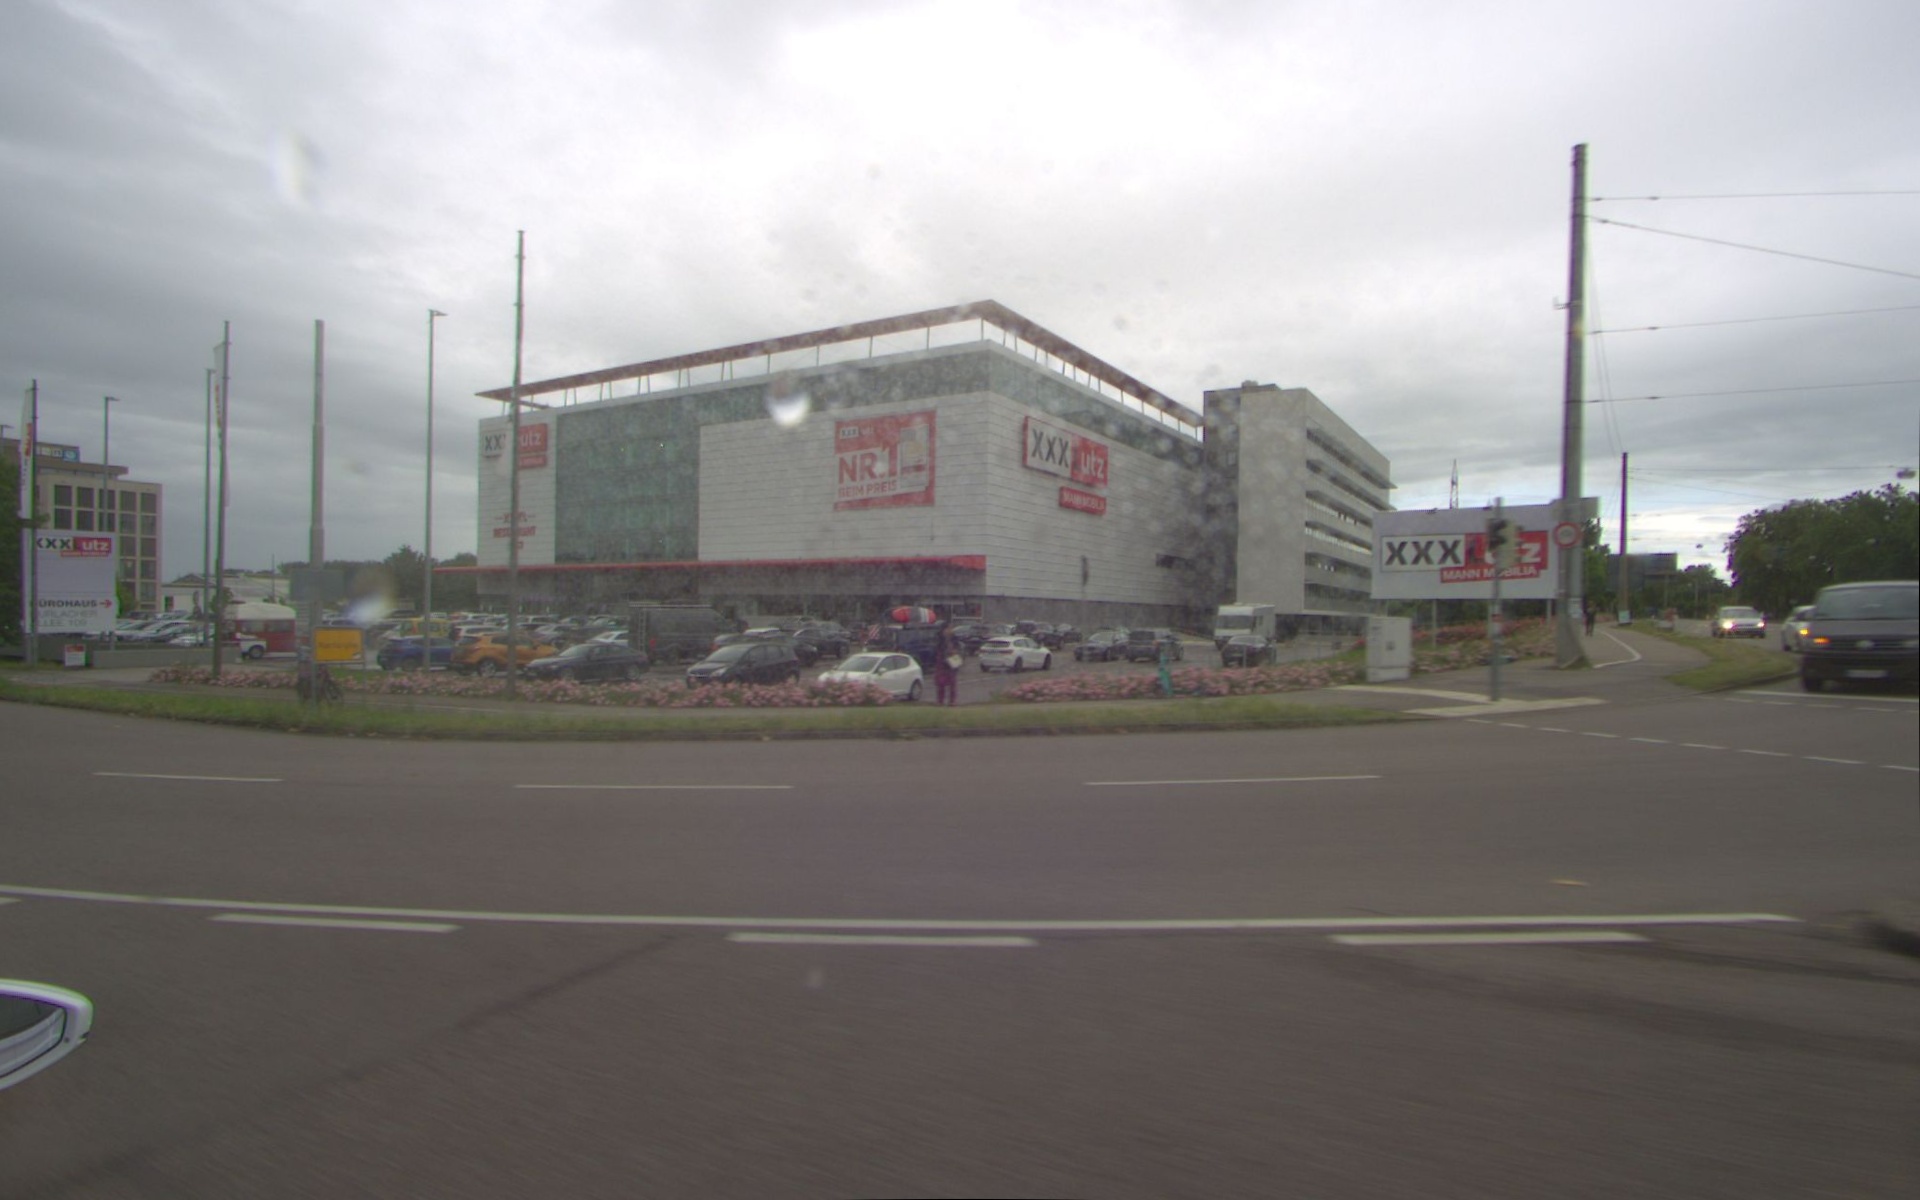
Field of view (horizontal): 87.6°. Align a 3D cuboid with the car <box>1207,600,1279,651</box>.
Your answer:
[{"bbox_3d":[18.257,1.628,64.354,2.727,3.029,6.921,2,0,30],"label":"car"}]

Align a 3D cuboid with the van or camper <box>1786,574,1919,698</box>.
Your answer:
[{"bbox_3d":[17.186,0.604,18.639,4.703,2.039,2.105,-1,-2,-43],"label":"van or camper"}]

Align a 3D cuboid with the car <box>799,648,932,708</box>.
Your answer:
[{"bbox_3d":[-2.680,2.227,29.327,1.847,1.464,4.103,2,0,30],"label":"car"}]

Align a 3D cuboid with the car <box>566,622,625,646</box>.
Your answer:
[{"bbox_3d":[-27.970,2.620,76.881,1.761,1.843,3.980,0,-2,32],"label":"car"}]

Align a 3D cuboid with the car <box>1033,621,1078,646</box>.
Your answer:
[{"bbox_3d":[6.797,2.349,71.094,1.628,1.581,3.595,1,1,34],"label":"car"}]

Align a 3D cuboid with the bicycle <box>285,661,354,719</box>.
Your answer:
[{"bbox_3d":[-12.725,1.761,19.876,1.671,1.062,0.661,-2,-2,39],"label":"bicycle"}]

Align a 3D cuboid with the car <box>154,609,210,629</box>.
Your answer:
[{"bbox_3d":[-69.092,1.680,88.980,1.678,1.654,3.621,2,0,37],"label":"car"}]

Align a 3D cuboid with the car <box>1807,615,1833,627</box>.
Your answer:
[{"bbox_3d":[108.209,2.638,126.020,1.724,1.450,3.362,2,1,28],"label":"car"}]

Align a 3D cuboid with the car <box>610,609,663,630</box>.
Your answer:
[{"bbox_3d":[-26.084,1.574,80.861,1.803,1.574,3.787,2,0,32],"label":"car"}]

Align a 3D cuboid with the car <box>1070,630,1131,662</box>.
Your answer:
[{"bbox_3d":[7.256,2.309,51.558,1.805,1.536,3.983,-1,-1,29],"label":"car"}]

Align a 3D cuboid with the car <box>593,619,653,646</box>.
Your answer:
[{"bbox_3d":[-24.628,2.395,73.316,1.813,1.863,3.984,0,-2,29],"label":"car"}]

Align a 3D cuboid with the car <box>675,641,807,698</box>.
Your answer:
[{"bbox_3d":[-6.930,2.161,32.120,1.744,1.604,4.085,1,-1,33],"label":"car"}]

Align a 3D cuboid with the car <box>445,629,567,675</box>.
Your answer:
[{"bbox_3d":[-17.544,1.974,38.860,1.792,1.664,3.974,-1,-2,37],"label":"car"}]

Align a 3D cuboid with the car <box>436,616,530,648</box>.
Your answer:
[{"bbox_3d":[-26.503,1.802,55.762,1.808,1.604,4.402,2,-1,34],"label":"car"}]

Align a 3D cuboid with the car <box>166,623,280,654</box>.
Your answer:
[{"bbox_3d":[-38.148,1.993,51.900,1.933,1.480,4.365,2,0,34],"label":"car"}]

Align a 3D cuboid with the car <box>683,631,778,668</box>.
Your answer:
[{"bbox_3d":[-10.347,2.209,45.364,1.972,1.589,3.979,0,-1,33],"label":"car"}]

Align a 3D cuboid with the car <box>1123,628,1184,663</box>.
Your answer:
[{"bbox_3d":[9.834,2.265,50.635,1.857,1.687,3.983,0,-1,29],"label":"car"}]

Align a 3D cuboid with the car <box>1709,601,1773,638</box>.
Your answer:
[{"bbox_3d":[36.518,0.923,46.899,1.720,1.623,4.058,2,0,30],"label":"car"}]

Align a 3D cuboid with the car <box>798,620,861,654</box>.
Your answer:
[{"bbox_3d":[-8.261,2.365,63.637,1.857,2.073,3.980,-1,-2,32],"label":"car"}]

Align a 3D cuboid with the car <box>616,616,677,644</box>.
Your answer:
[{"bbox_3d":[-22.620,2.138,72.283,1.905,1.950,3.983,-1,-2,30],"label":"car"}]

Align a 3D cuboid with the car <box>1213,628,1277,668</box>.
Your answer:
[{"bbox_3d":[13.716,2.268,48.141,1.888,1.779,3.979,-1,-1,33],"label":"car"}]

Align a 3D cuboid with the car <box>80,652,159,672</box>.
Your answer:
[{"bbox_3d":[-61.621,4.494,73.463,1.738,1.367,4.049,0,-2,31],"label":"car"}]

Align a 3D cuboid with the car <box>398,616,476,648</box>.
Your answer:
[{"bbox_3d":[-30.785,1.895,59.028,1.709,1.791,3.728,2,0,34],"label":"car"}]

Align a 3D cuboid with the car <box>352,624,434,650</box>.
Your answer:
[{"bbox_3d":[-34.802,2.271,61.574,1.861,1.553,3.981,0,-2,31],"label":"car"}]

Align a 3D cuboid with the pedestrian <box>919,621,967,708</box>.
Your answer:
[{"bbox_3d":[-0.324,1.236,19.209,0.703,1.617,0.783,-2,-2,13],"label":"pedestrian"}]

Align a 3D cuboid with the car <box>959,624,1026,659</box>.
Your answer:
[{"bbox_3d":[1.867,2.310,56.083,1.839,1.804,4.198,0,0,34],"label":"car"}]

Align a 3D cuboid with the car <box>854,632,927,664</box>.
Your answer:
[{"bbox_3d":[-3.305,2.296,48.357,1.803,1.487,3.891,-1,-2,27],"label":"car"}]

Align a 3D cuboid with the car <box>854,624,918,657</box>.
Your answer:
[{"bbox_3d":[-4.413,2.417,60.066,1.807,1.885,3.979,-1,-1,33],"label":"car"}]

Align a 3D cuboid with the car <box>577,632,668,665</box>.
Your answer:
[{"bbox_3d":[-16.658,2.368,49.609,1.838,1.571,3.978,-1,-2,34],"label":"car"}]

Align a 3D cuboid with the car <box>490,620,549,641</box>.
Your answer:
[{"bbox_3d":[-35.157,2.421,79.999,1.752,1.582,3.977,2,0,35],"label":"car"}]

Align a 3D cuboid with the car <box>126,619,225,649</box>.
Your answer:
[{"bbox_3d":[-43.925,1.905,56.130,1.739,1.561,4.045,2,0,34],"label":"car"}]

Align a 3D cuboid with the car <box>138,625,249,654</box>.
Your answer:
[{"bbox_3d":[-41.722,2.120,54.599,1.841,1.438,4.456,2,0,34],"label":"car"}]

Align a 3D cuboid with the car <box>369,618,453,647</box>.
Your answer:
[{"bbox_3d":[-32.928,1.954,60.147,1.853,1.617,3.979,2,0,33],"label":"car"}]

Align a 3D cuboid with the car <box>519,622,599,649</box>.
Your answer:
[{"bbox_3d":[-24.089,2.167,60.335,1.715,1.488,4.230,2,-1,34],"label":"car"}]

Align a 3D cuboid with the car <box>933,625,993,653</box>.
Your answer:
[{"bbox_3d":[0.217,2.436,63.033,1.924,1.675,3.976,-1,-1,35],"label":"car"}]

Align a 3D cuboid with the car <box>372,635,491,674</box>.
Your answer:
[{"bbox_3d":[-21.761,2.206,41.344,1.789,1.474,3.979,-1,-2,33],"label":"car"}]

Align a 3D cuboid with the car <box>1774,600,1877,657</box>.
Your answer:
[{"bbox_3d":[26.419,0.845,30.681,1.708,1.559,4.025,2,0,32],"label":"car"}]

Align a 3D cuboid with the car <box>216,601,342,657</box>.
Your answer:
[{"bbox_3d":[-33.829,1.434,49.860,2.140,2.613,4.712,2,0,34],"label":"car"}]

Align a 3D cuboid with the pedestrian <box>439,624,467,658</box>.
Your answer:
[{"bbox_3d":[-26.550,2.142,52.408,0.872,1.742,0.938,2,0,31],"label":"pedestrian"}]

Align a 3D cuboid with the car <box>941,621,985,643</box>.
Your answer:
[{"bbox_3d":[0.247,2.454,76.133,1.628,1.580,3.597,1,-2,33],"label":"car"}]

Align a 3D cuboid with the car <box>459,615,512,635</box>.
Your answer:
[{"bbox_3d":[-39.185,2.068,82.719,1.717,1.607,3.558,-1,-2,37],"label":"car"}]

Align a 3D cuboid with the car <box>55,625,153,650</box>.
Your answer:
[{"bbox_3d":[-51.730,2.274,60.578,1.783,1.368,4.146,2,0,31],"label":"car"}]

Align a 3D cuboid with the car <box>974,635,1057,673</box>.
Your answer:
[{"bbox_3d":[2.456,2.290,43.273,1.721,1.495,4.187,-1,-1,34],"label":"car"}]

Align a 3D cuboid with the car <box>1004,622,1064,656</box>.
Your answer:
[{"bbox_3d":[4.511,2.309,60.513,1.924,1.954,3.976,-1,-1,35],"label":"car"}]

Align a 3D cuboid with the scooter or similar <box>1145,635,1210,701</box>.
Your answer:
[{"bbox_3d":[4.142,1.290,19.098,1.142,1.248,0.346,0,-2,-6],"label":"scooter or similar"}]

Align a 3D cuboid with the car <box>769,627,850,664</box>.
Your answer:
[{"bbox_3d":[-7.445,2.226,49.835,1.859,1.692,3.977,0,-1,34],"label":"car"}]

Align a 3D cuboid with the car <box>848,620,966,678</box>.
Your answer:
[{"bbox_3d":[-2.074,1.917,40.612,2.095,2.193,5.018,-1,-1,37],"label":"car"}]

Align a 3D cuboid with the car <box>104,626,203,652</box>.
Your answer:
[{"bbox_3d":[-46.208,2.221,57.466,1.808,1.368,4.048,2,0,31],"label":"car"}]

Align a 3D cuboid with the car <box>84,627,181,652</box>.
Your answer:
[{"bbox_3d":[-48.358,2.310,58.574,1.738,1.368,4.048,2,-1,31],"label":"car"}]

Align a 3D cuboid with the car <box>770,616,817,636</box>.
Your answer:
[{"bbox_3d":[-14.085,2.190,84.923,1.803,1.574,3.787,2,0,32],"label":"car"}]

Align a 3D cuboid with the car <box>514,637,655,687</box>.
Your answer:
[{"bbox_3d":[-13.341,2.148,35.785,1.745,1.604,4.515,2,-1,35],"label":"car"}]

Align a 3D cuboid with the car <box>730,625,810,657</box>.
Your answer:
[{"bbox_3d":[-9.753,2.123,51.654,1.829,1.575,3.979,0,-2,33],"label":"car"}]

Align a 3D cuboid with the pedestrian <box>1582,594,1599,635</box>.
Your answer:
[{"bbox_3d":[27.985,0.658,44.450,0.538,1.805,0.632,2,0,29],"label":"pedestrian"}]

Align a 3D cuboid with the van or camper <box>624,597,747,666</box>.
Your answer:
[{"bbox_3d":[-12.692,1.467,46.565,1.968,3.022,5.356,-1,-2,40],"label":"van or camper"}]

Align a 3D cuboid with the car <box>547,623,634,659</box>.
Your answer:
[{"bbox_3d":[-18.827,2.059,51.160,1.804,1.676,3.885,1,1,31],"label":"car"}]

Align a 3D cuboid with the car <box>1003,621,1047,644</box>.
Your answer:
[{"bbox_3d":[4.762,2.338,72.945,1.628,1.581,3.595,1,1,34],"label":"car"}]

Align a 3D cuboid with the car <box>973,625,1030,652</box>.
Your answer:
[{"bbox_3d":[2.615,2.387,62.228,1.754,1.552,3.977,0,0,34],"label":"car"}]

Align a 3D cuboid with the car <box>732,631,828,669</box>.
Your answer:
[{"bbox_3d":[-7.931,2.175,44.348,1.923,1.575,3.973,-1,-2,38],"label":"car"}]

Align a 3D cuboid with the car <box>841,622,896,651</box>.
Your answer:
[{"bbox_3d":[-6.108,2.426,66.975,1.788,1.866,3.670,-1,-2,34],"label":"car"}]
